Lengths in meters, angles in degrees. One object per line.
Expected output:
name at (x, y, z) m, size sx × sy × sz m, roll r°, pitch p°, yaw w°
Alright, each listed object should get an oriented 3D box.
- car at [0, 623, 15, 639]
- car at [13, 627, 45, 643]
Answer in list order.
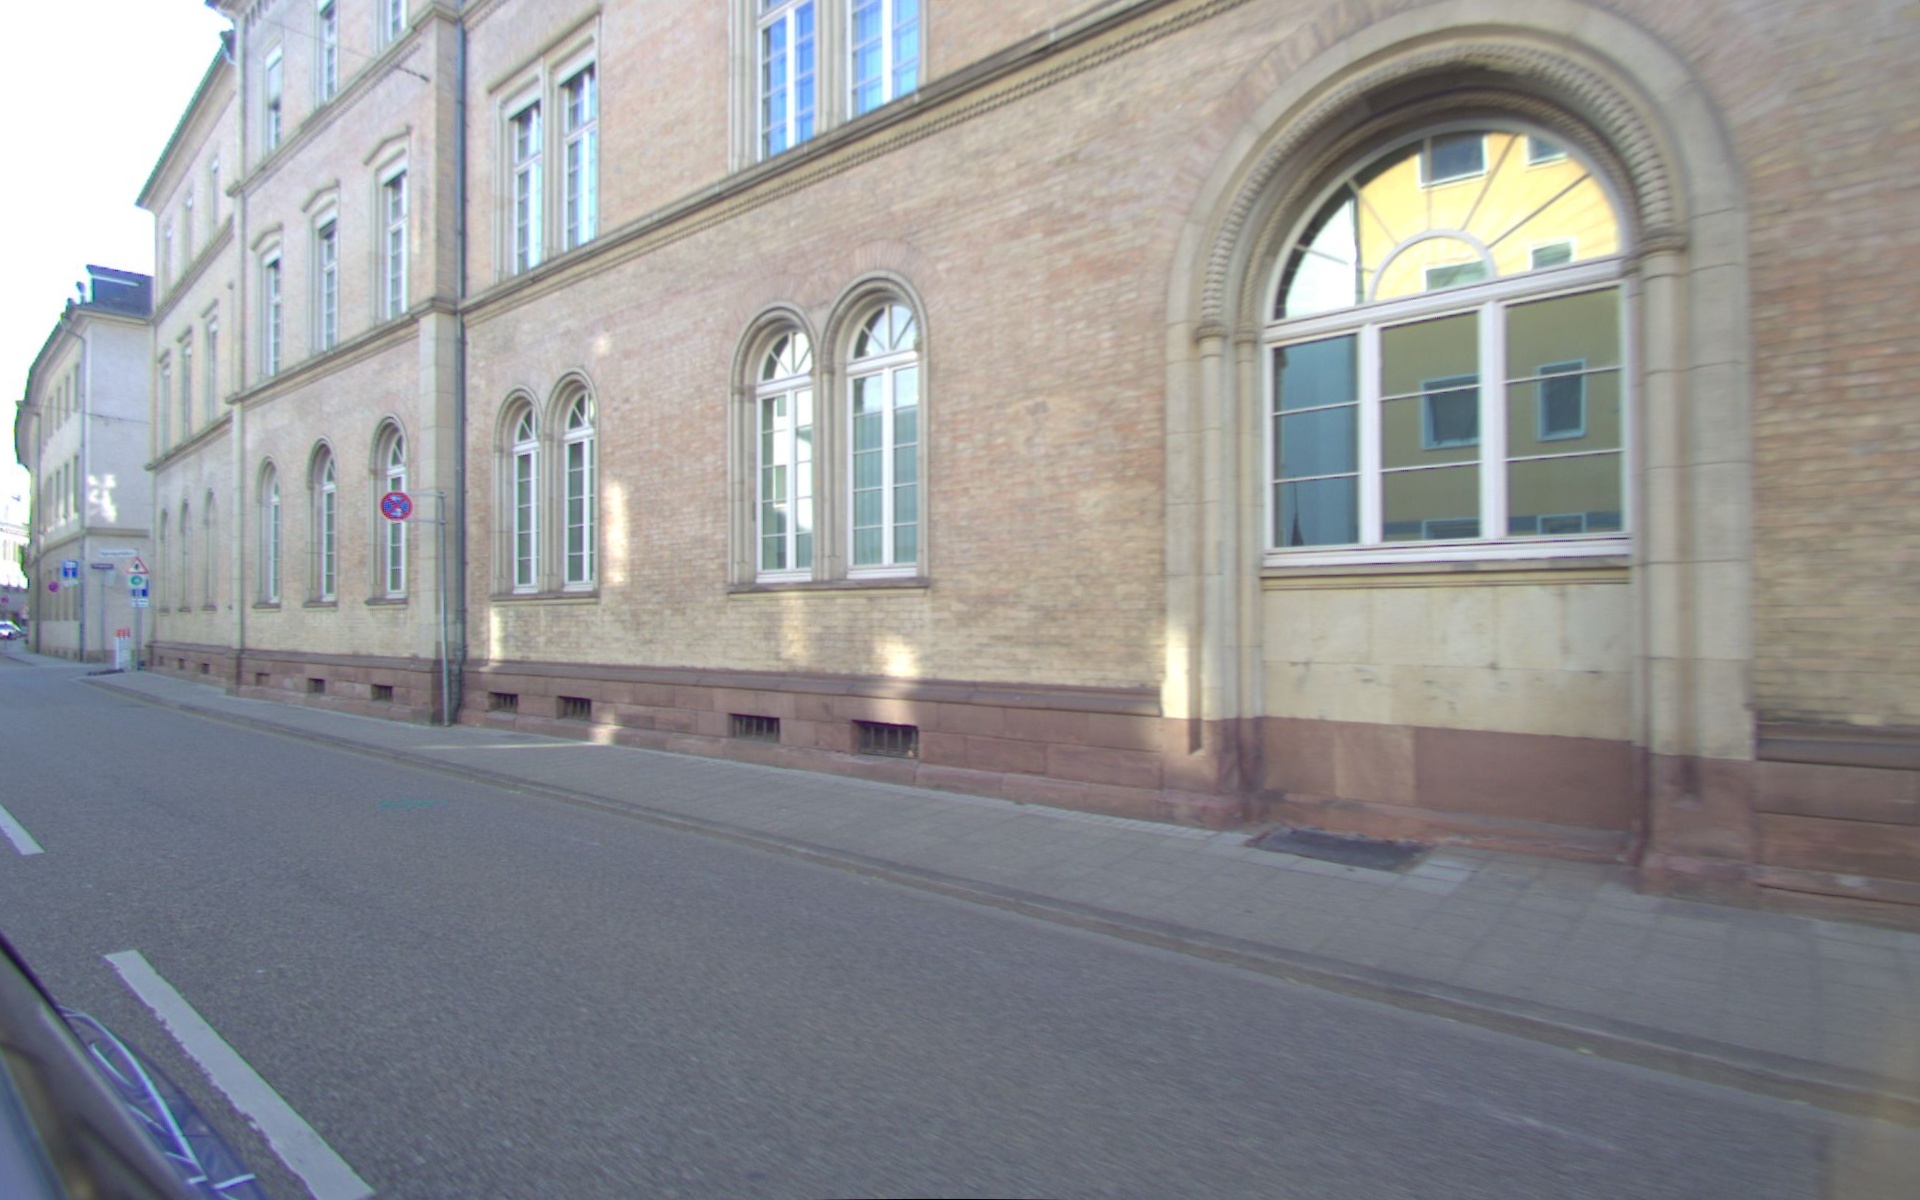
car at (-102.249, 3.320, 107.565) m, size 1.747 × 1.595 × 3.868 m, roll -5°, pitch 2°, yaw -31°
car at (-107.438, 4.057, 116.802) m, size 1.747 × 1.595 × 3.868 m, roll -5°, pitch 2°, yaw -29°
